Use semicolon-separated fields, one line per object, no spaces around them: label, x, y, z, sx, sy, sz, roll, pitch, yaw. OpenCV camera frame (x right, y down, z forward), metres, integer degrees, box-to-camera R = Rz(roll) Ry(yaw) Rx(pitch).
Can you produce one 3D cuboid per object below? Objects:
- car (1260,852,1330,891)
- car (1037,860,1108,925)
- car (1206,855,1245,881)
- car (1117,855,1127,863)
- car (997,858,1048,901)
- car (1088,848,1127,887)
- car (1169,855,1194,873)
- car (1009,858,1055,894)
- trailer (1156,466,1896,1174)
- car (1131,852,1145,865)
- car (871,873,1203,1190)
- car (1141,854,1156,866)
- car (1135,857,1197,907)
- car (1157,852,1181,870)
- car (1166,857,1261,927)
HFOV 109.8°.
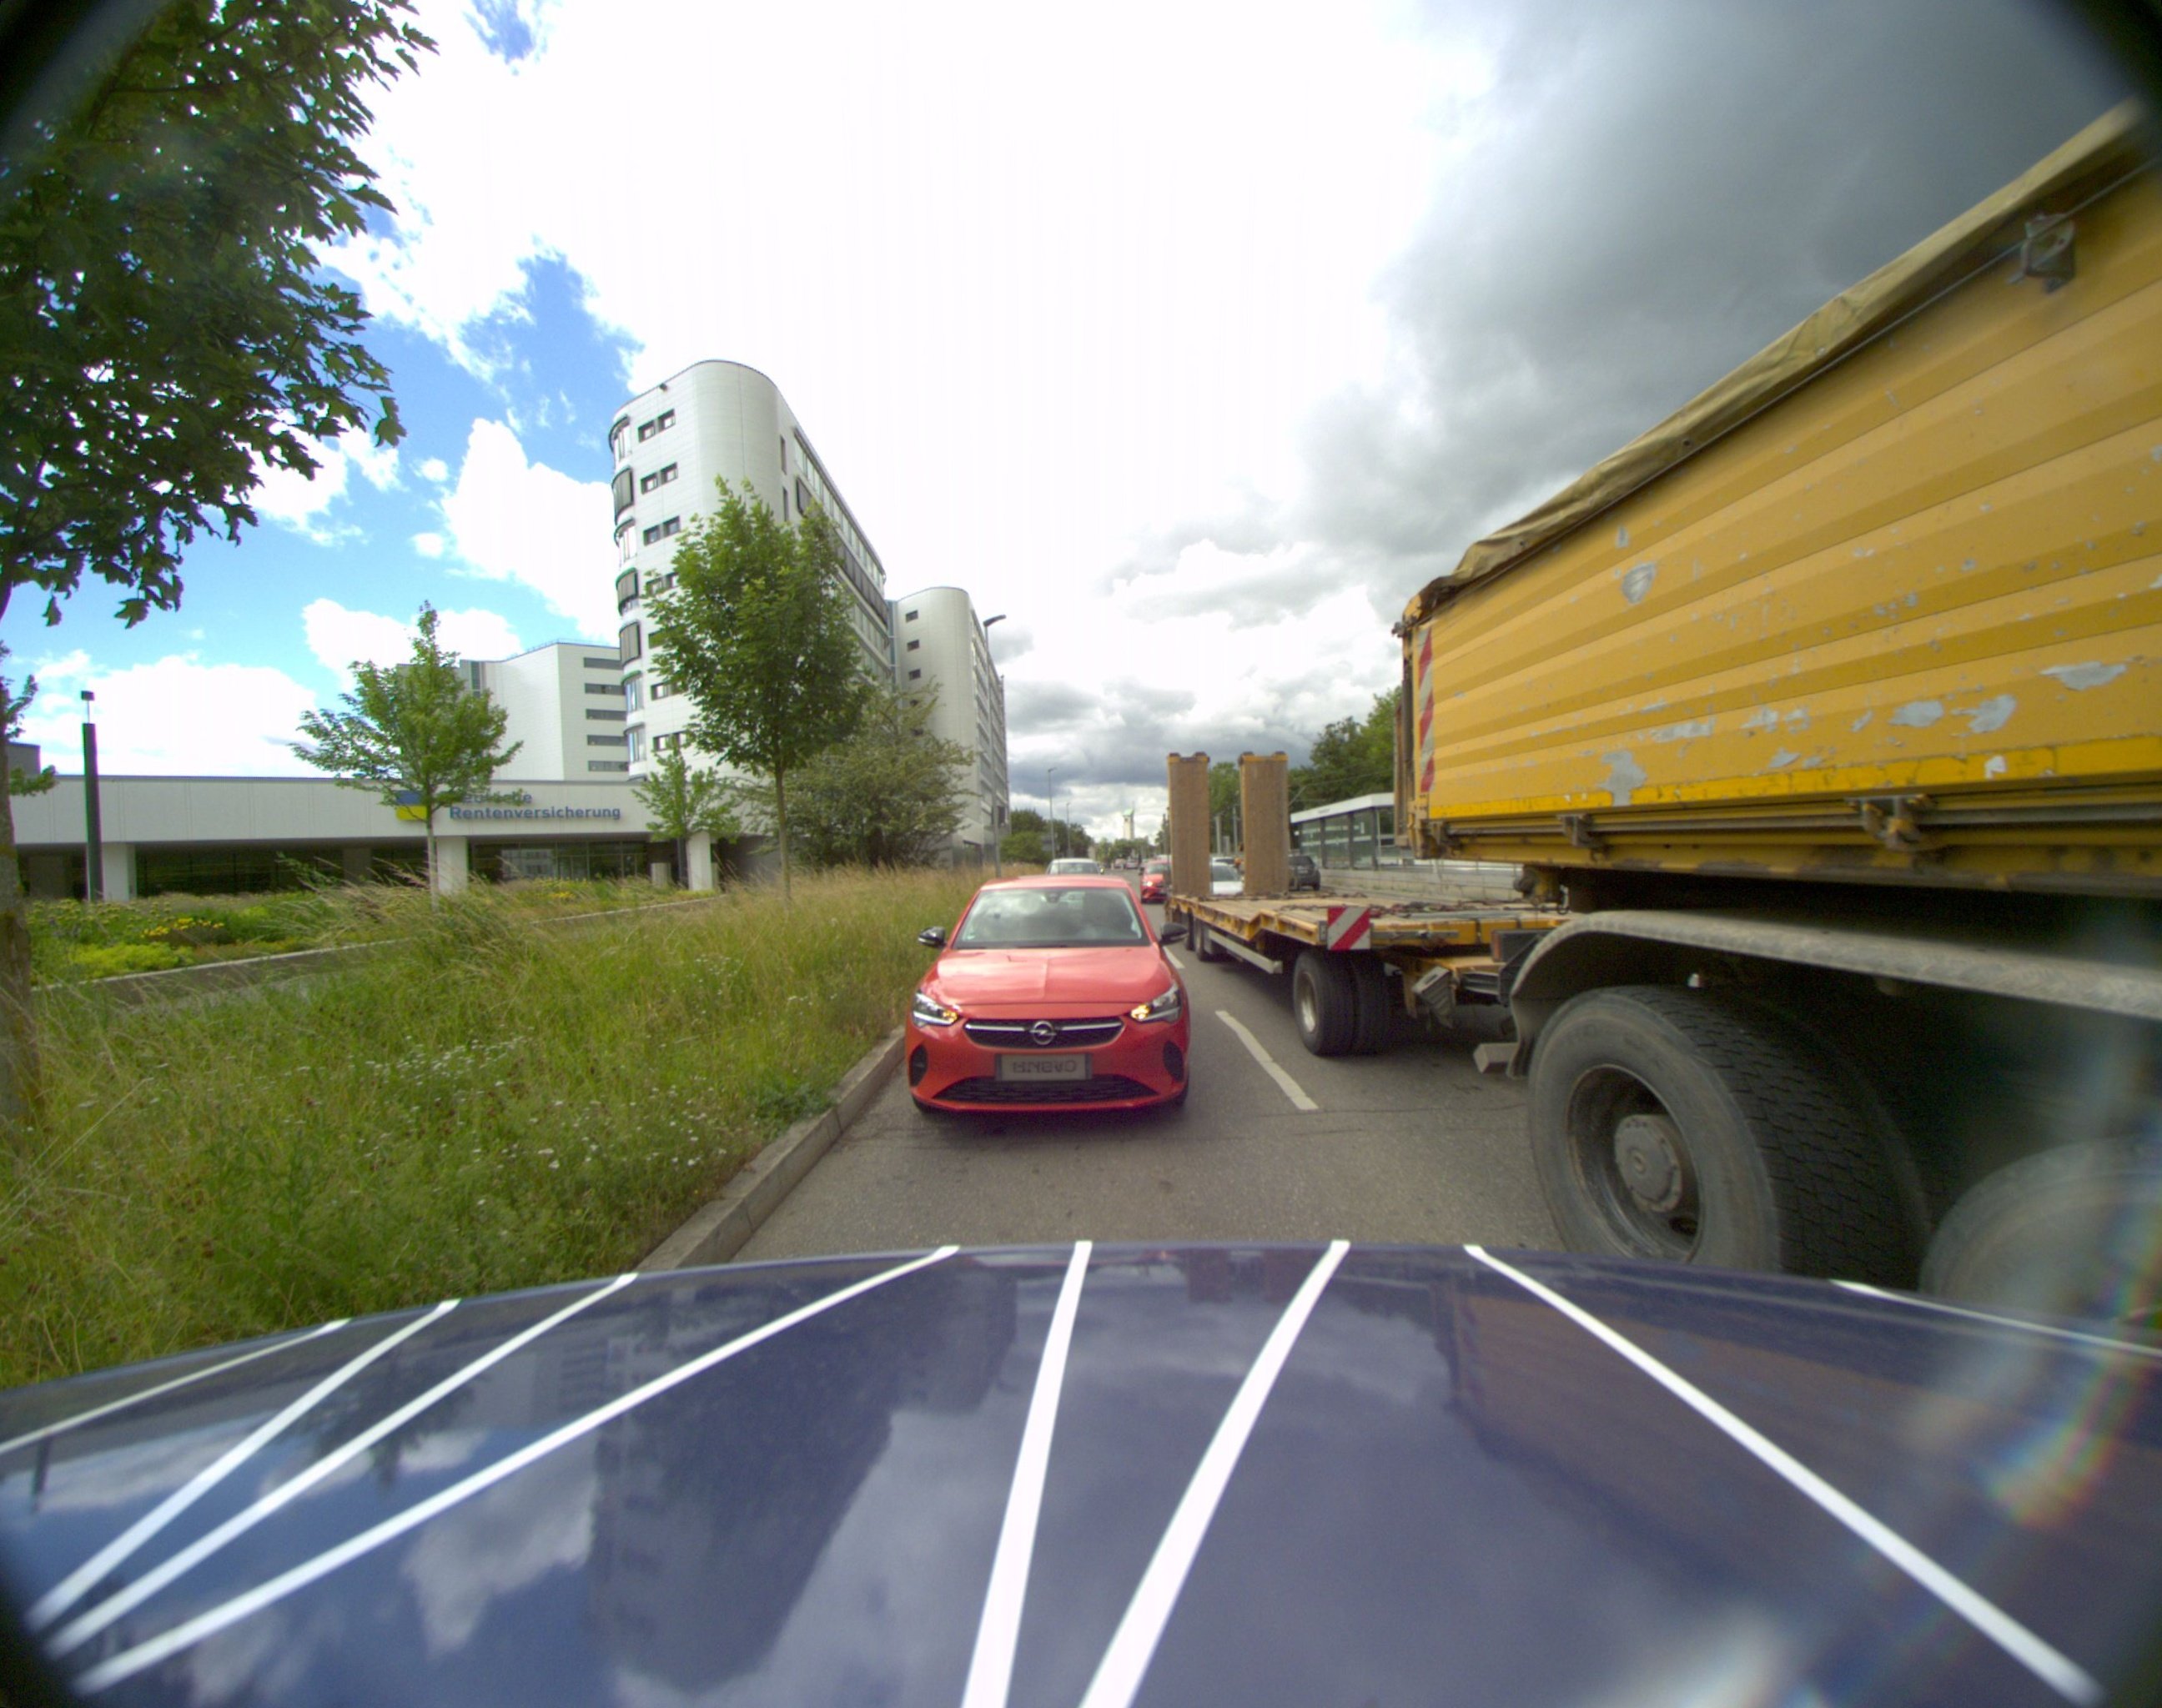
car;8.829;0.699;31.671;1.781;1.460;4.044;-2;0;1
car;-0.211;0.987;20.779;1.738;1.565;3.445;-2;0;0
car;8.689;0.806;46.101;1.766;1.432;4.279;-2;0;4
car;8.302;1.077;154.147;1.770;1.489;3.554;-2;0;1
car;-2.291;0.977;30.651;1.738;1.565;3.445;-2;0;0
car;1.465;0.722;42.926;1.998;2.002;4.000;-2;0;1
car;8.746;0.872;66.565;1.705;1.449;3.566;-2;0;1
car;-2.288;1.011;36.450;1.850;1.565;4.623;-2;0;0
trailer;2.810;-0.161;9.325;2.713;3.501;10.914;-2;0;1
car;9.091;0.773;121.796;1.998;2.002;4.000;-2;0;1
car;-0.203;0.991;5.999;1.692;1.471;3.999;-2;1;1
car;8.775;0.721;98.563;1.644;1.489;3.554;-2;0;1
car;2.841;0.892;26.196;1.692;1.471;3.999;-2;1;1
car;8.947;0.720;77.447;1.887;1.761;4.864;-2;0;1
car;3.232;0.872;19.257;1.692;1.471;3.999;-2;1;1
